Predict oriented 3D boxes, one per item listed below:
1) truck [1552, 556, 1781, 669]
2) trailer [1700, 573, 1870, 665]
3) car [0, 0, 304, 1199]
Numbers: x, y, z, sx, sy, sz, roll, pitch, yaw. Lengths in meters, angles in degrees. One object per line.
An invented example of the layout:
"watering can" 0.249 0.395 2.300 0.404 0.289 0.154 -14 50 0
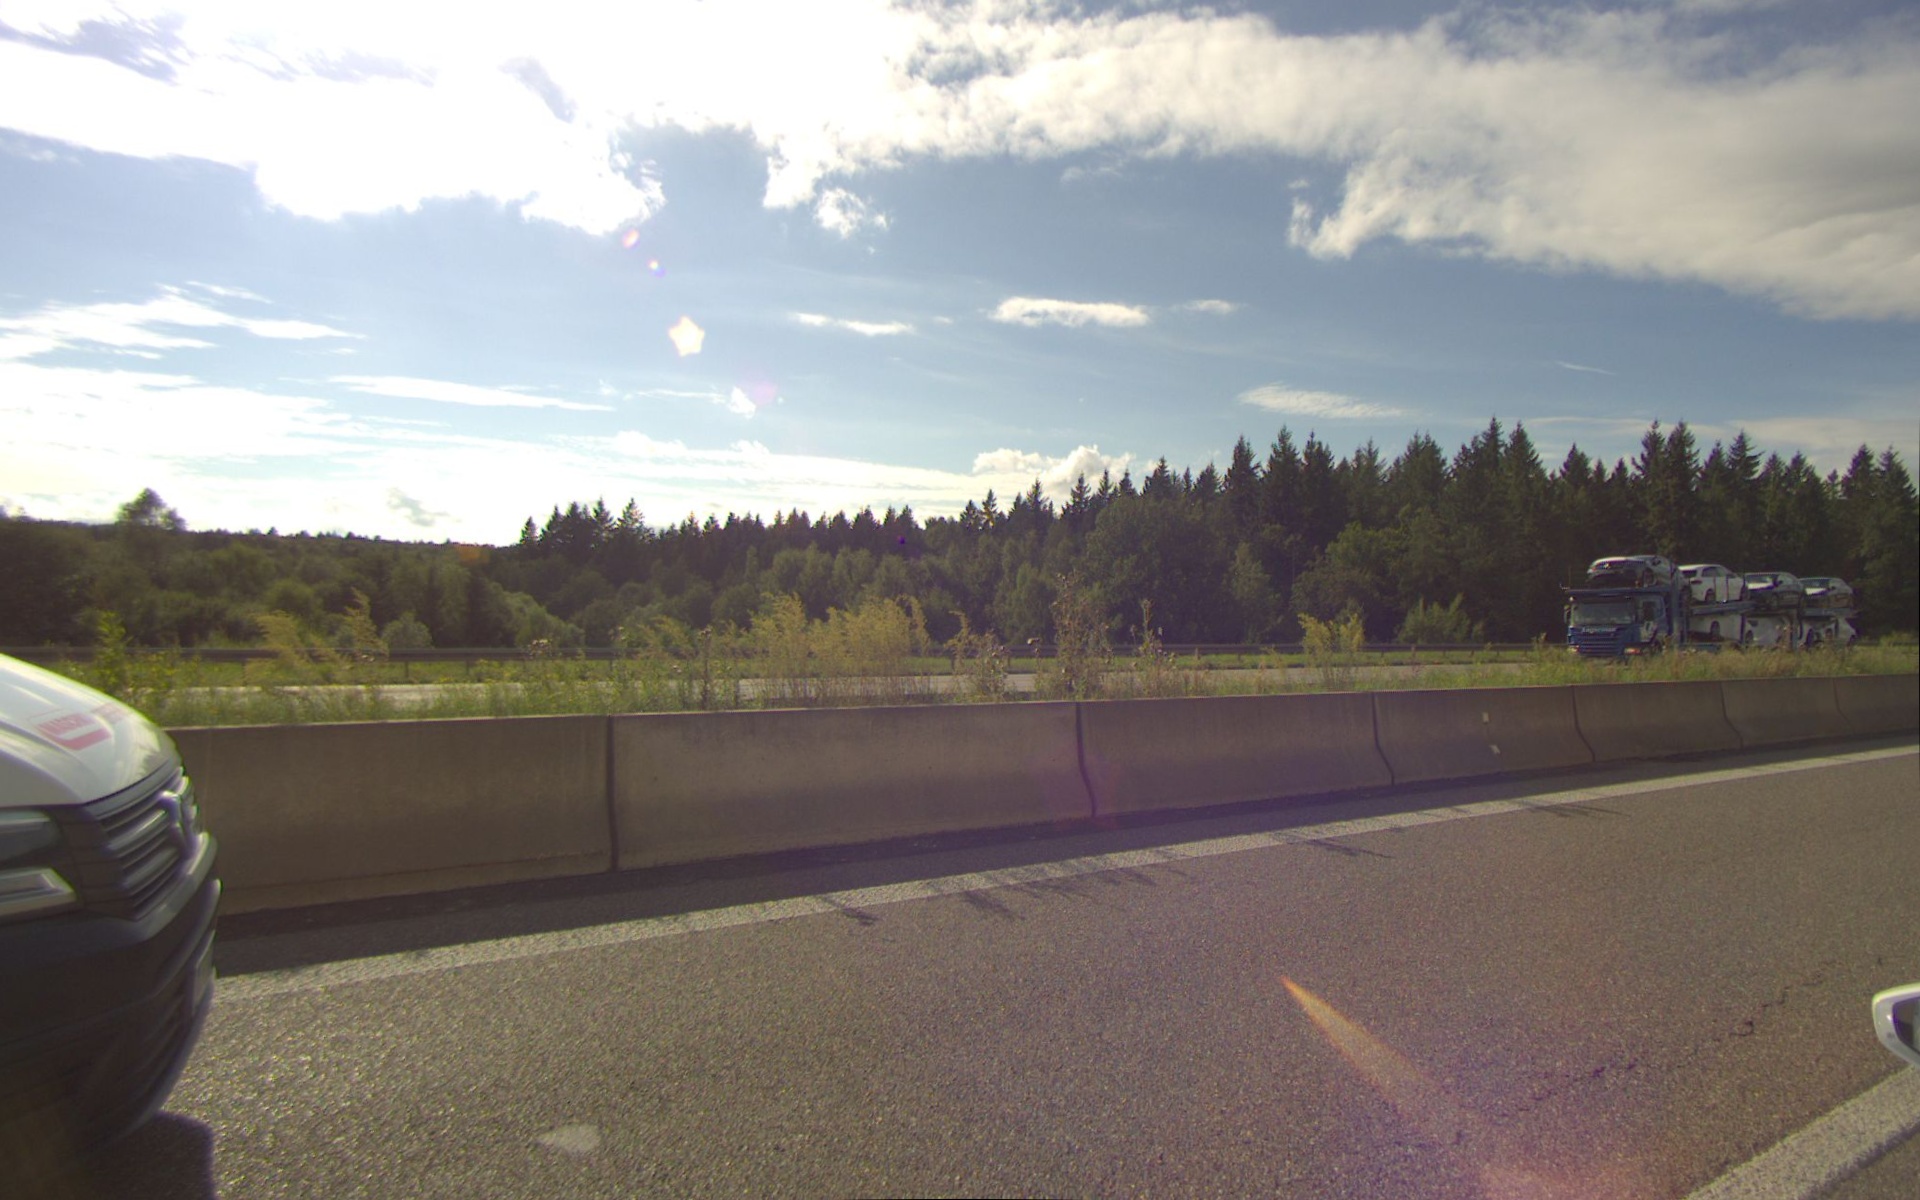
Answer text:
"truck" 26.494 0.570 37.402 11.004 3.737 2.817 2 -1 -31
"trailer" 35.042 0.874 42.550 8.850 3.575 2.785 2 -1 -31
"car" -4.478 0.108 1.158 6.111 2.633 2.005 1 -1 -31
